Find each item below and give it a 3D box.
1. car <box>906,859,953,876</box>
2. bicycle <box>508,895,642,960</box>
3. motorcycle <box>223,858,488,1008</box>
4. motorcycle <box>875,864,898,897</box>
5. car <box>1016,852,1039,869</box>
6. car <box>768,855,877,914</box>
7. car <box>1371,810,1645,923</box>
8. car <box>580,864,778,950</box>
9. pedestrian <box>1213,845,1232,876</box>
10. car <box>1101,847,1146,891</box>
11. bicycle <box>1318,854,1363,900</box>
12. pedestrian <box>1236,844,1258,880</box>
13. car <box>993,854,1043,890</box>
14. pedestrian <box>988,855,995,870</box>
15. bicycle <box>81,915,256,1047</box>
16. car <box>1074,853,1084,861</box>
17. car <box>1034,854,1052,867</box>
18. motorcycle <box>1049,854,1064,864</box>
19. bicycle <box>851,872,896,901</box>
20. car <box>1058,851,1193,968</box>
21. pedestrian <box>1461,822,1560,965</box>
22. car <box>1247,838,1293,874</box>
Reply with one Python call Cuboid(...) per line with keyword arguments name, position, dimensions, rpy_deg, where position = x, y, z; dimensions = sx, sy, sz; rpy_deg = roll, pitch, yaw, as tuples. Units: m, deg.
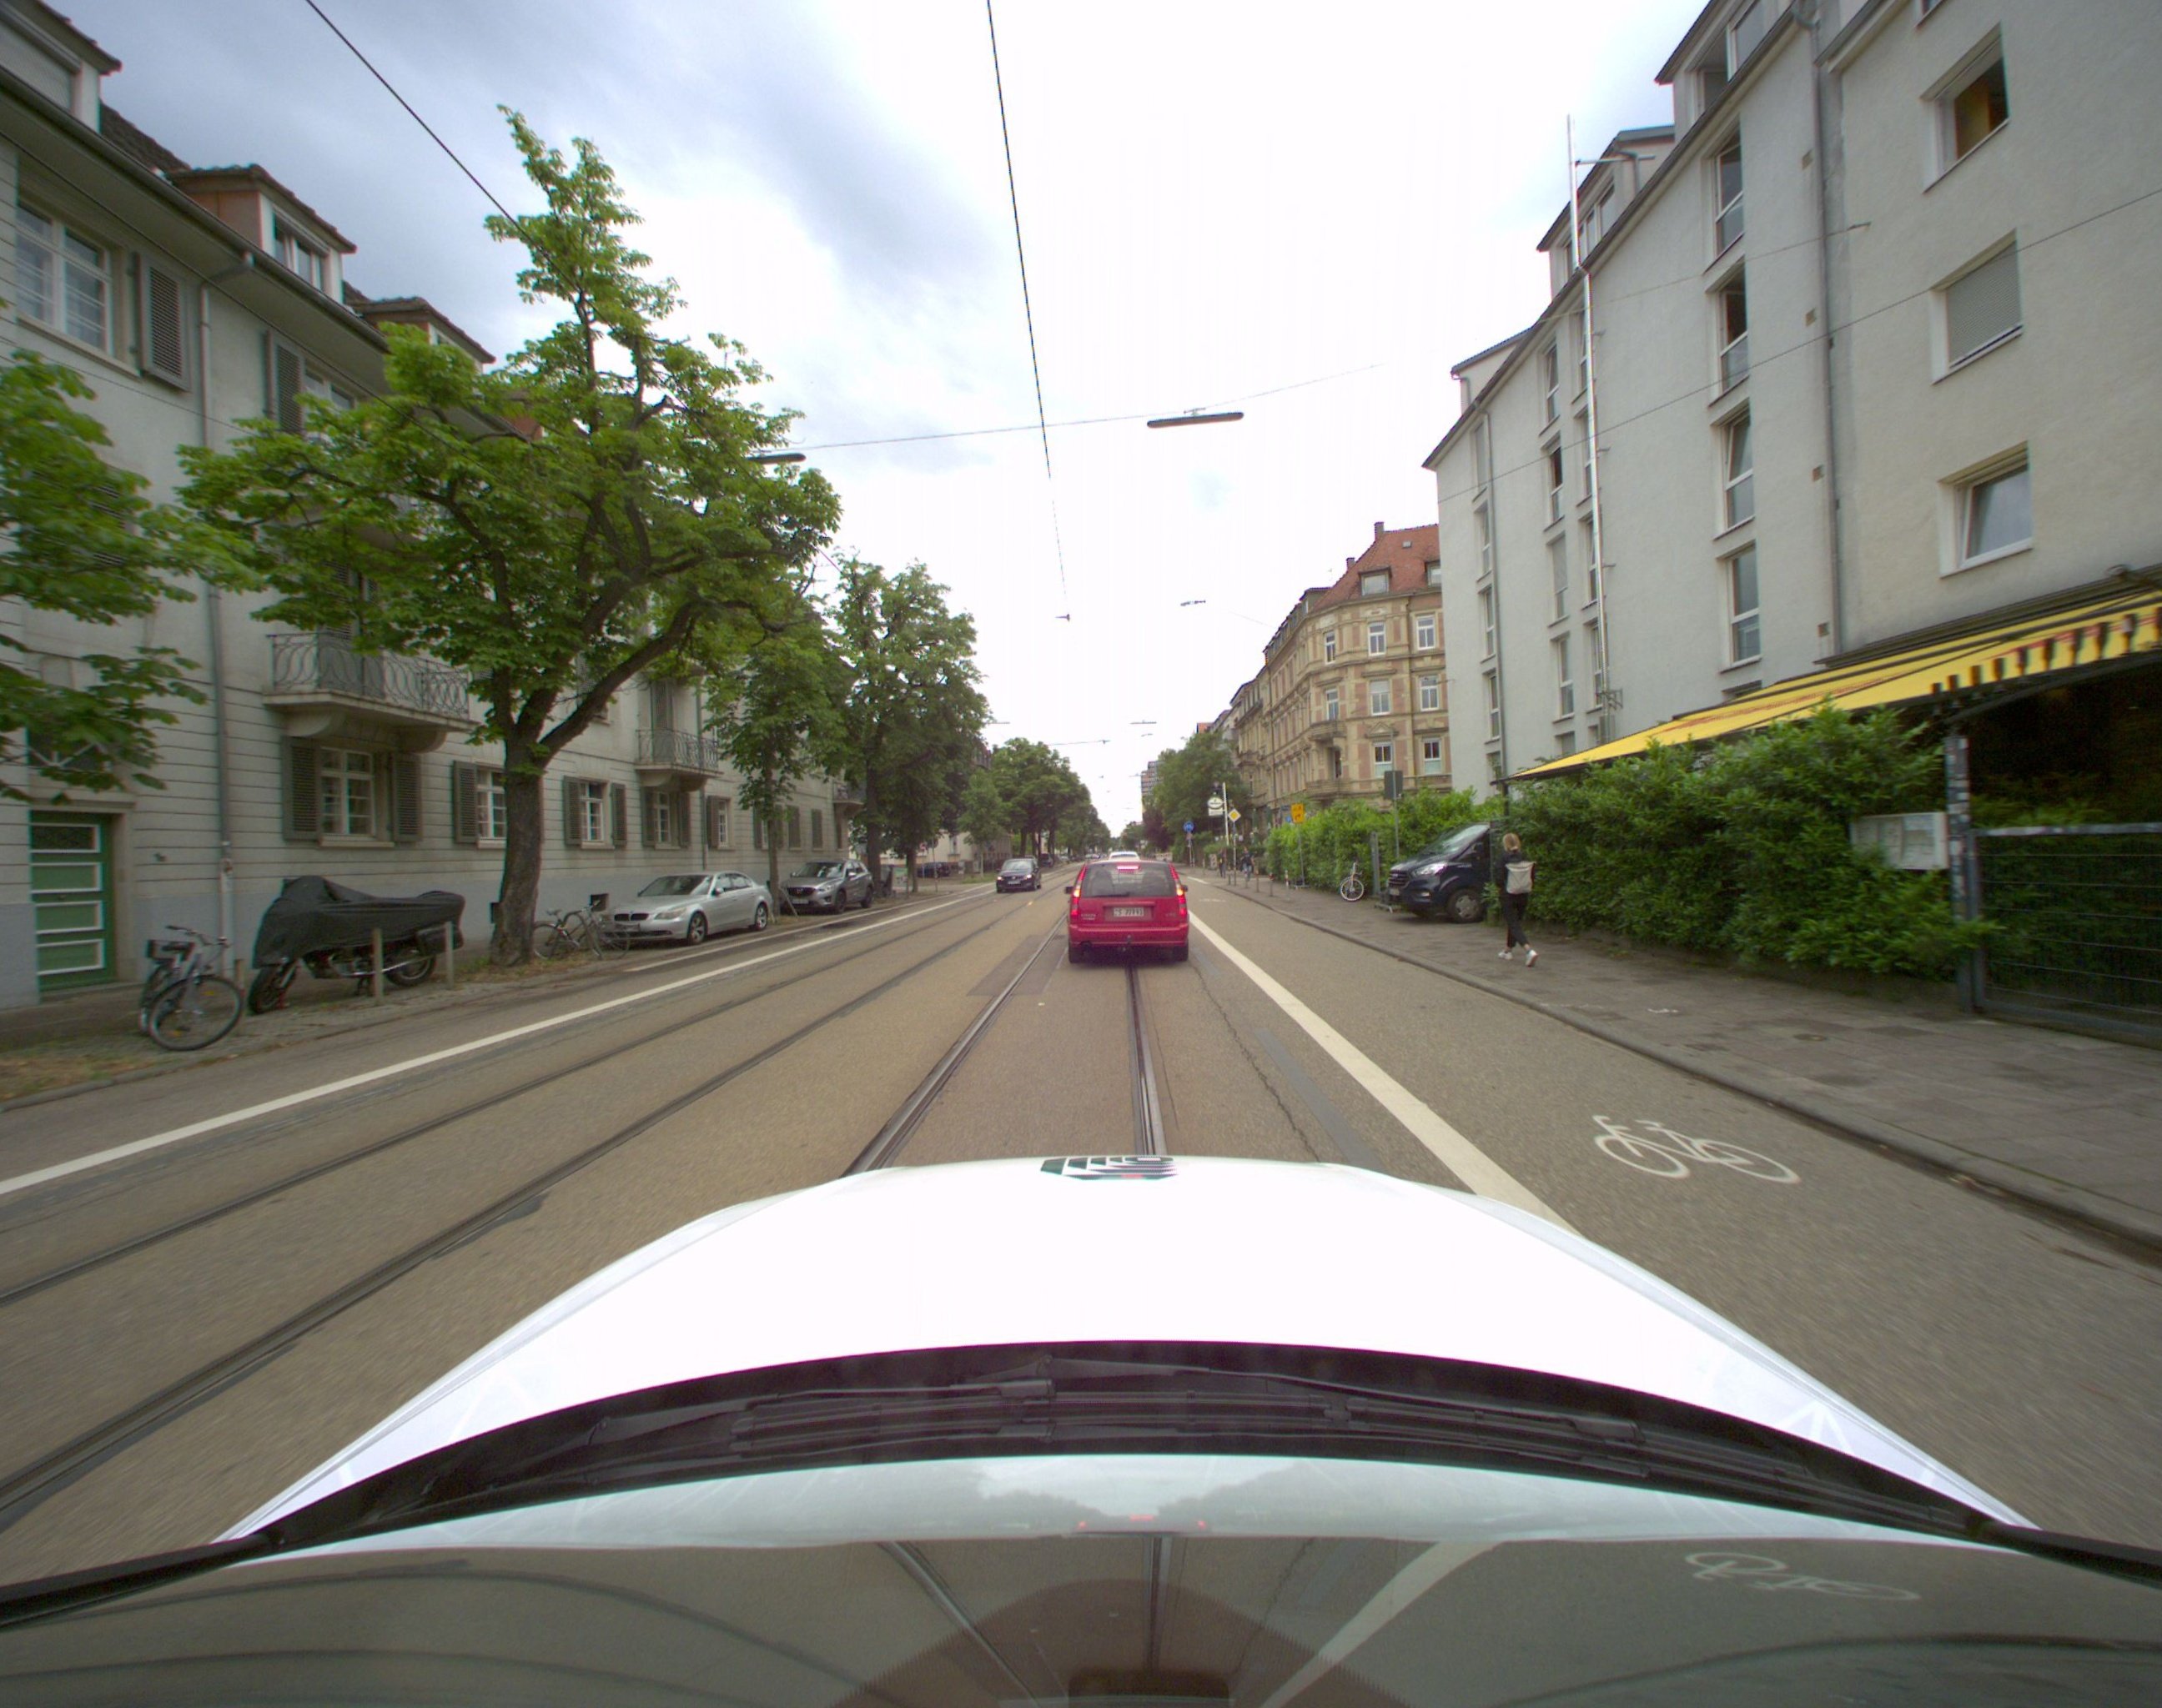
Cuboid(name="car", position=(-13.473, 1.212, 72.358), dimensions=(3.714, 1.307, 1.751), rpy_deg=(-3, 0, 25))
Cuboid(name="bicycle", position=(-8.627, 1.248, 13.938), dimensions=(1.889, 1.027, 0.563), rpy_deg=(-1, 0, -2))
Cuboid(name="motorcycle", position=(-9.088, 0.906, 10.405), dimensions=(0.827, 1.643, 2.487), rpy_deg=(-2, 0, 10))
Cuboid(name="motorcycle", position=(-7.946, 1.054, 33.366), dimensions=(0.539, 1.257, 2.139), rpy_deg=(-2, 0, -4))
Cuboid(name="car", position=(-5.531, 0.667, 84.397), dimensions=(1.890, 1.655, 4.227), rpy_deg=(-2, 0, 1))
Cuboid(name="car", position=(-7.976, 0.875, 25.610), dimensions=(1.829, 1.661, 4.297), rpy_deg=(0, 0, 3))
Cuboid(name="car", position=(8.121, 0.235, 15.826), dimensions=(4.261, 1.809, 1.826), rpy_deg=(-4, 0, 4))
Cuboid(name="car", position=(-8.373, 1.023, 17.535), dimensions=(1.805, 1.466, 4.616), rpy_deg=(-2, 0, 2))
Cuboid(name="pedestrian", position=(7.701, 0.351, 44.340), dimensions=(0.866, 1.656, 0.912), rpy_deg=(-2, 0, 15))
Cuboid(name="car", position=(1.830, 0.587, 33.827), dimensions=(1.711, 1.624, 3.946), rpy_deg=(-2, 0, 4))
Cuboid(name="bicycle", position=(7.017, 0.603, 22.112), dimensions=(0.630, 1.127, 1.813), rpy_deg=(-5, 1, 2))
Cuboid(name="pedestrian", position=(7.748, 0.369, 38.073), dimensions=(0.790, 1.636, 0.836), rpy_deg=(-4, -1, 2))
Cuboid(name="car", position=(-2.693, 0.755, 35.716), dimensions=(1.722, 1.408, 3.657), rpy_deg=(-2, 0, 2))
Cuboid(name="pedestrian", position=(-8.842, 0.851, 80.360), dimensions=(0.562, 1.467, 0.723), rpy_deg=(-3, 0, 3))
Cuboid(name="bicycle", position=(-8.963, 1.205, 7.996), dimensions=(1.727, 1.129, 0.520), rpy_deg=(0, 1, 20))
Cuboid(name="car", position=(-0.487, 0.684, 170.006), dimensions=(1.844, 1.563, 3.945), rpy_deg=(-2, 0, 2))
Cuboid(name="car", position=(-4.815, 0.836, 103.047), dimensions=(1.770, 1.511, 4.241), rpy_deg=(-2, 0, 3))
Cuboid(name="motorcycle", position=(-3.797, 0.804, 124.979), dimensions=(2.243, 1.511, 0.932), rpy_deg=(-3, -2, 37))
Cuboid(name="bicycle", position=(-7.648, 1.189, 30.046), dimensions=(1.369, 1.005, 0.931), rpy_deg=(0, 0, 6))
Cuboid(name="car", position=(0.729, 0.708, 12.228), dimensions=(1.681, 1.441, 3.748), rpy_deg=(-1, 0, 5))
Cuboid(name="pedestrian", position=(5.393, 0.474, 10.289), dimensions=(0.621, 1.671, 0.960), rpy_deg=(-5, 0, 2))
Cuboid(name="car", position=(10.688, 0.077, 45.714), dimensions=(2.036, 1.877, 5.052), rpy_deg=(-2, 0, 18))
